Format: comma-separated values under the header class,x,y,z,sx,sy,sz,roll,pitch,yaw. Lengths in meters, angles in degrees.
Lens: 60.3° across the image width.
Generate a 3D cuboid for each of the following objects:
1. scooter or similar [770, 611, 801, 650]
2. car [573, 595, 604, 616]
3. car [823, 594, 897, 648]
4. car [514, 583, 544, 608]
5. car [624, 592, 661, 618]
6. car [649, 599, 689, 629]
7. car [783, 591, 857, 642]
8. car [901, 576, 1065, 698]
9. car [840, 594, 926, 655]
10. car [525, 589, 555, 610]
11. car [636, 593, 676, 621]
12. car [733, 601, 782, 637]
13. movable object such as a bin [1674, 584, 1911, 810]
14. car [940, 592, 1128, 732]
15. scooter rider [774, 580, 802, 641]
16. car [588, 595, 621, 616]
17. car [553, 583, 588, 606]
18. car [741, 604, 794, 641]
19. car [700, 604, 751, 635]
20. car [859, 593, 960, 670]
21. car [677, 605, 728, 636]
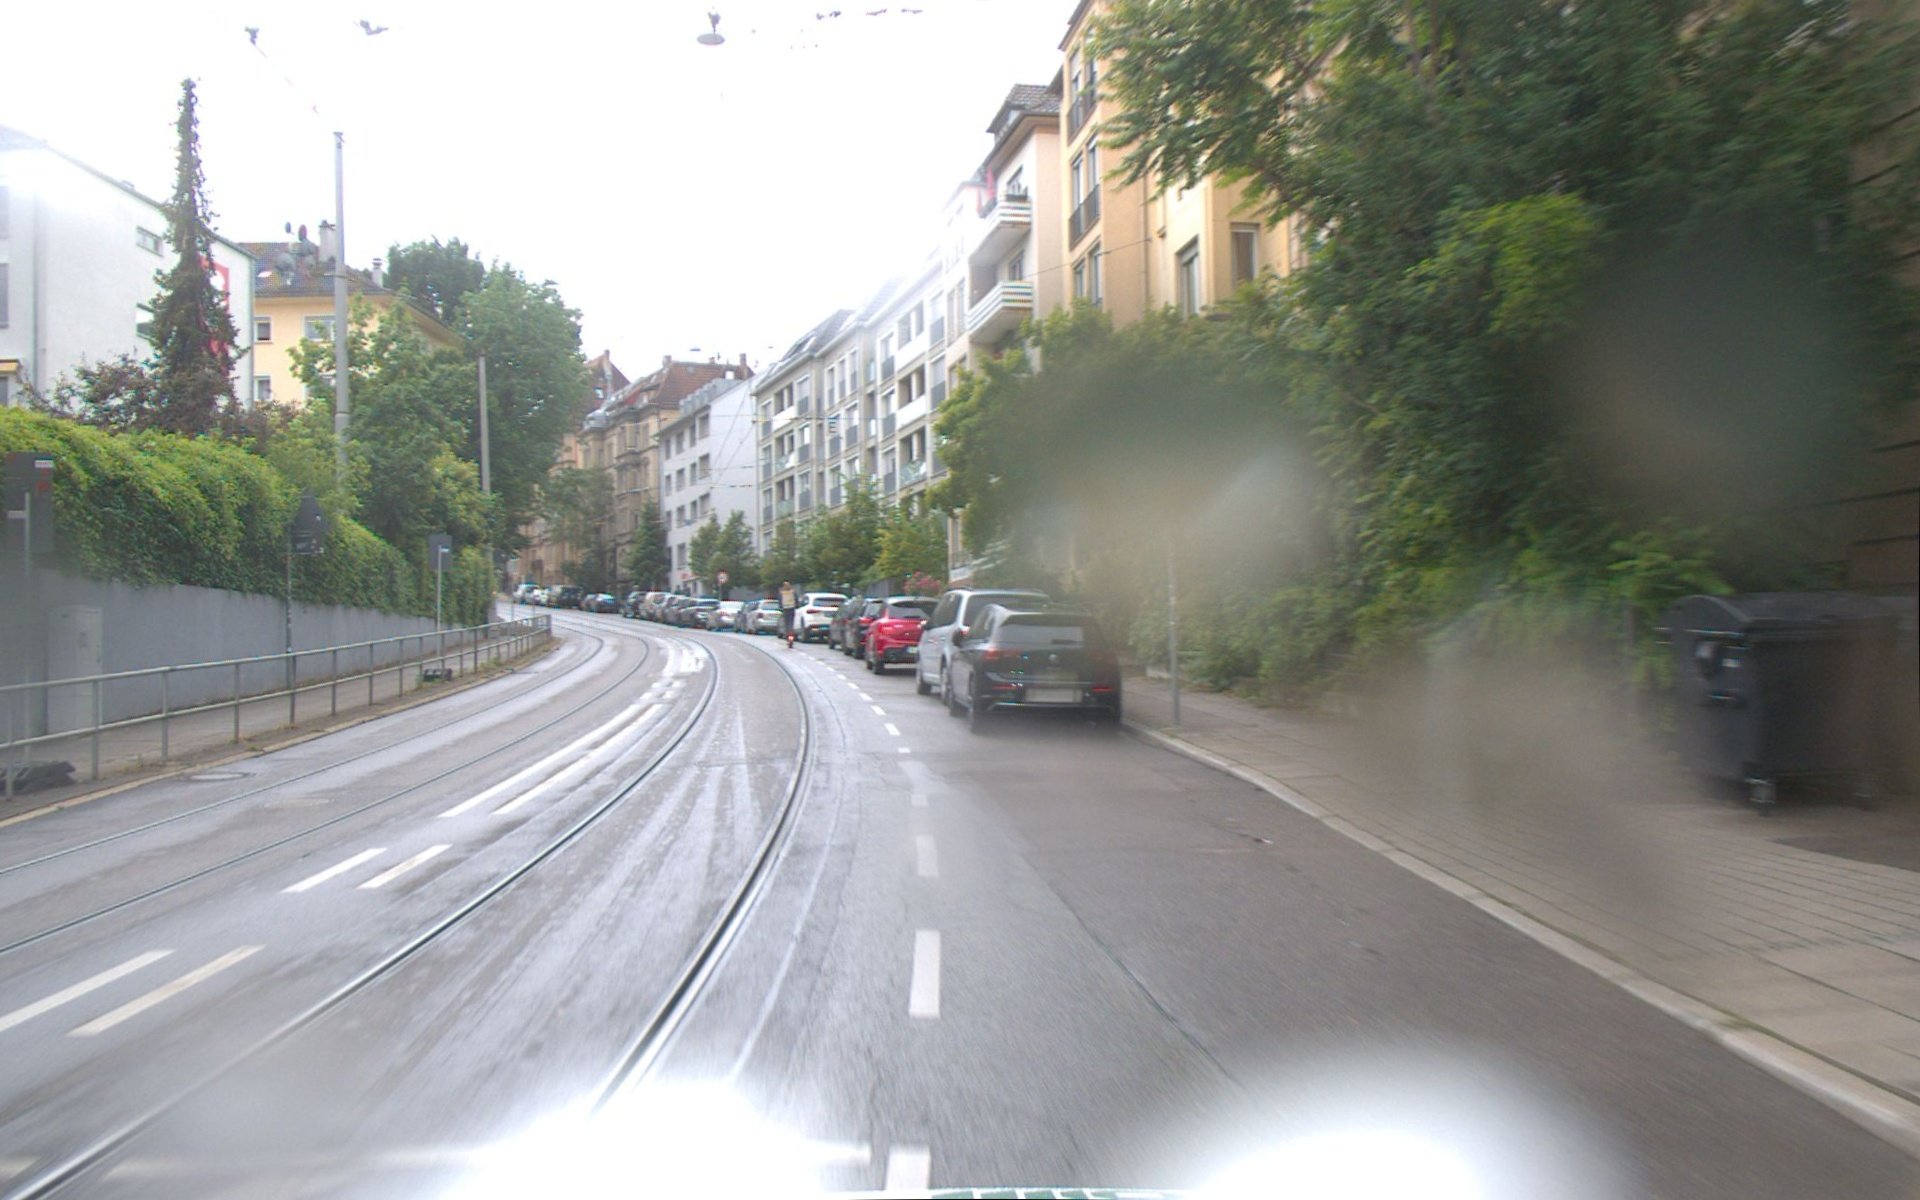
class,x,y,z,sx,sy,sz,roll,pitch,yaw
scooter or similar,-5.061,0.884,47.945,0.505,1.068,1.999,2,0,-17
car,-29.289,0.431,130.294,1.628,1.562,3.861,-3,2,-23
car,-2.883,0.570,46.943,1.529,1.462,4.291,0,0,-12
car,-40.091,-0.398,153.741,2.002,2.257,4.106,1,0,-25
car,-21.725,0.339,113.175,1.742,1.713,4.220,1,0,-22
car,-18.138,0.858,103.084,1.741,1.818,4.223,1,0,-20
car,-4.731,0.510,55.439,1.806,1.600,4.233,2,0,-14
car,0.249,0.515,24.998,1.733,1.631,4.279,-1,0,-9
car,-1.976,0.574,41.452,1.652,1.462,4.055,0,0,-10
car,-37.888,-0.058,149.251,2.000,1.856,4.110,1,0,-23
car,-19.981,0.457,108.587,1.742,1.713,4.219,1,0,-23
car,-9.288,0.842,75.670,1.674,1.538,3.697,1,0,-16
movable object such as a bin,5.766,0.640,11.495,1.204,1.427,0.820,-3,2,-12
car,0.785,0.668,19.939,1.731,1.415,3.996,0,1,-5
scooter rider,-4.991,0.291,47.965,0.613,1.735,0.840,2,0,-17
car,-27.080,0.405,125.947,1.742,1.544,4.112,1,0,-22
car,-32.758,-0.480,139.102,2.003,1.856,4.332,1,0,-26
car,-8.325,0.970,71.205,1.633,1.497,4.490,1,-1,-15
car,-11.730,0.958,82.580,1.735,1.460,4.614,-1,0,-18
car,-1.069,0.601,33.426,1.689,1.462,3.835,0,0,-7
car,-14.364,1.122,92.098,1.744,1.643,4.215,-1,0,-24
